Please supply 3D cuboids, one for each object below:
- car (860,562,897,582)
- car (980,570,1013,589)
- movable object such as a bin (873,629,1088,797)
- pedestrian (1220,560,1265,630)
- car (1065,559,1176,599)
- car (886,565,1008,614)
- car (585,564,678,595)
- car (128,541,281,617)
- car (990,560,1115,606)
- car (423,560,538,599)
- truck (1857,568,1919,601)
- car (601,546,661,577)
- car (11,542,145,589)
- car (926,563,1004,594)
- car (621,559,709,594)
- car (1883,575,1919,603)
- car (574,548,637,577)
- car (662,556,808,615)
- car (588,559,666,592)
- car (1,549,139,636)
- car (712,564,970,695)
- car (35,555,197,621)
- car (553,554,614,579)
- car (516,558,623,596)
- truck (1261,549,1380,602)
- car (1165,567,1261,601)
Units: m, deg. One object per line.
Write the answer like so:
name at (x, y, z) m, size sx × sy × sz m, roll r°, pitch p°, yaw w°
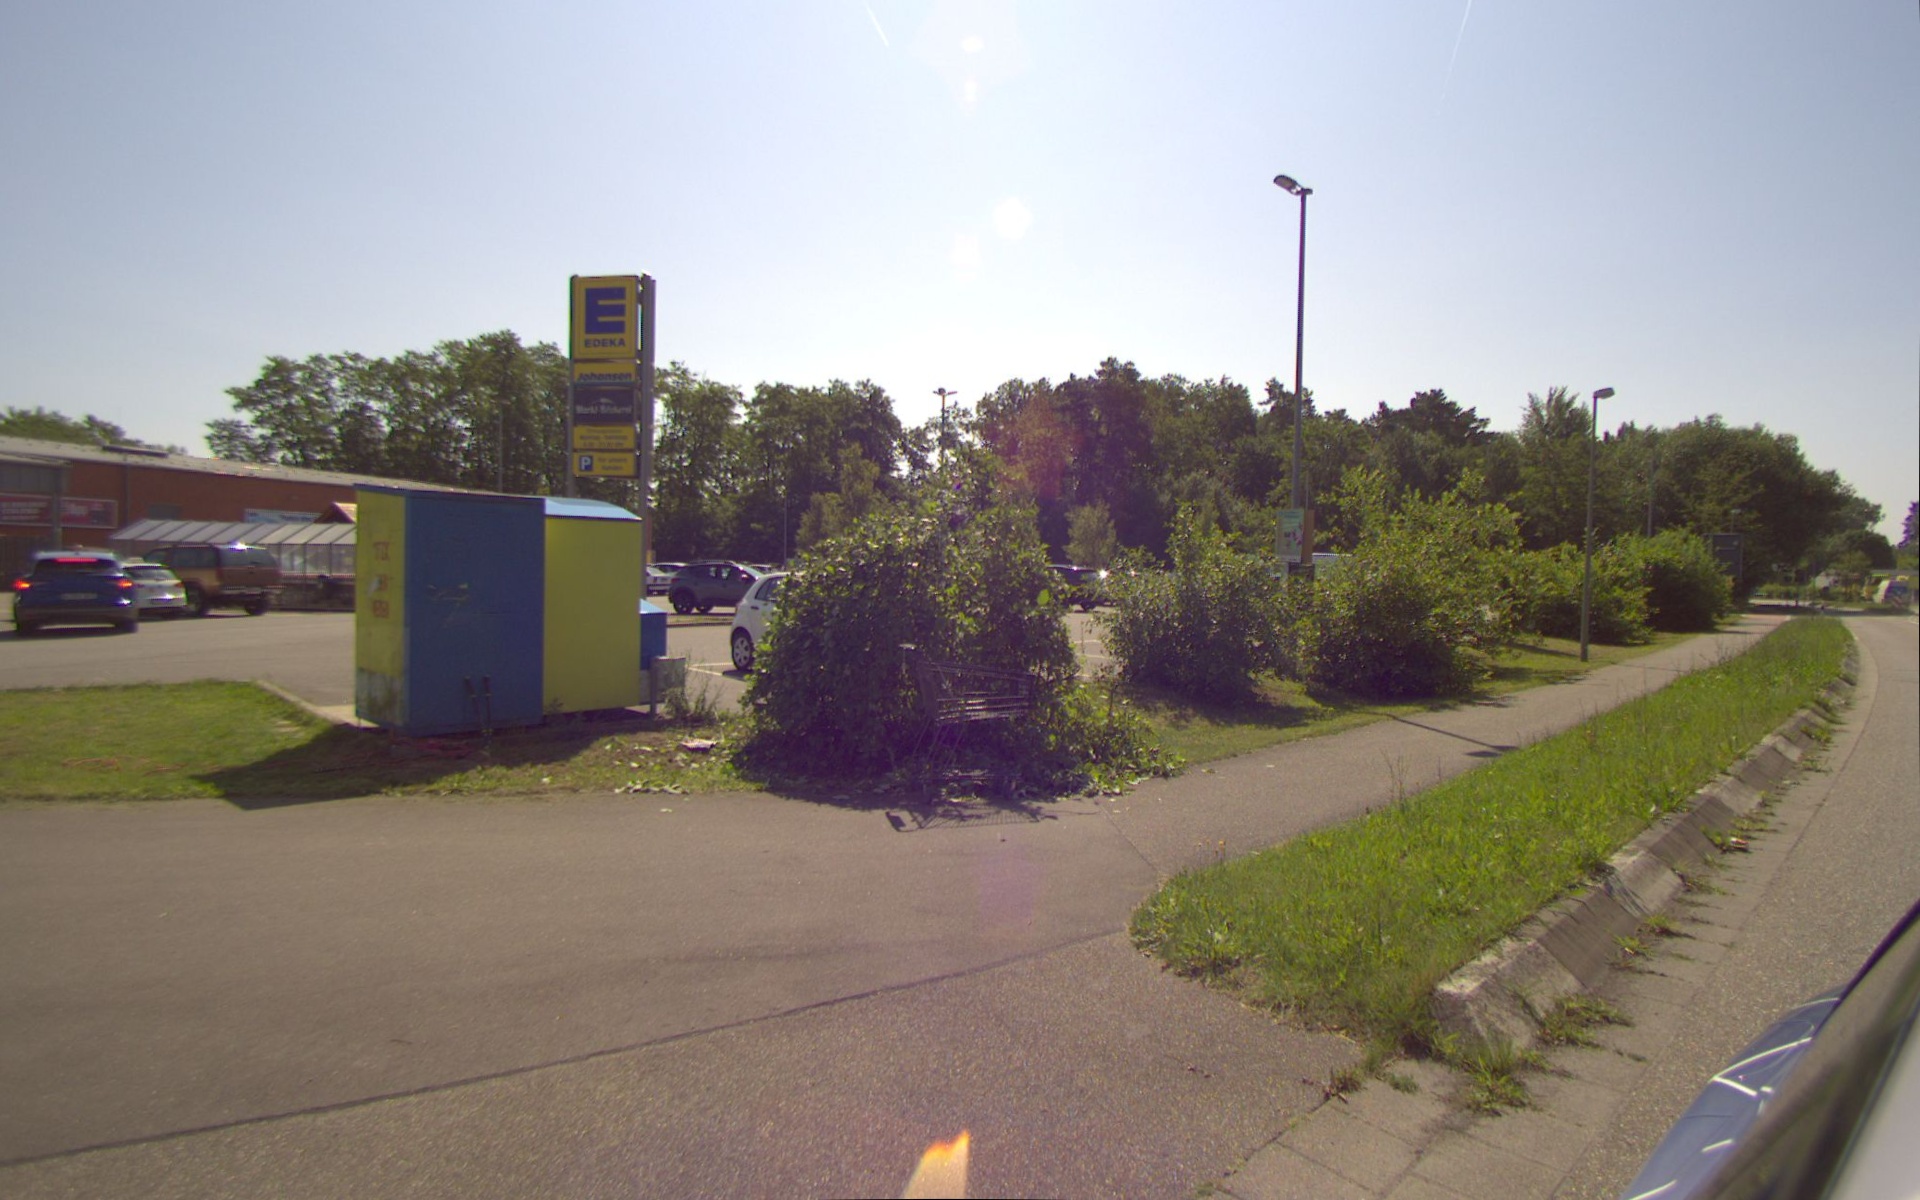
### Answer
car at (-6.664, -2.322, 83.531) m, size 1.769 × 1.615 × 4.244 m, roll 2°, pitch 2°, yaw 14°
car at (2.976, -1.668, 81.555) m, size 1.639 × 1.504 × 4.353 m, roll 2°, pitch 2°, yaw 15°
movable object such as a bin at (0.141, 0.818, 7.808) m, size 1.424 × 1.134 × 0.872 m, roll 1°, pitch 1°, yaw -21°
pedestrian at (7.609, -0.149, 27.225) m, size 0.818 × 1.820 × 0.853 m, roll 3°, pitch 2°, yaw 43°
car at (6.341, -0.849, 40.106) m, size 3.975 × 1.445 × 1.727 m, roll 3°, pitch 2°, yaw 35°
car at (-0.477, -0.378, 33.035) m, size 3.988 × 1.460 × 1.624 m, roll 3°, pitch 2°, yaw 44°
car at (-16.035, -0.992, 49.386) m, size 3.951 × 1.371 × 1.987 m, roll 2°, pitch 2°, yaw 21°
car at (-20.716, -0.592, 27.763) m, size 3.452 × 1.953 × 1.865 m, roll 2°, pitch 1°, yaw 22°
car at (3.341, -0.644, 36.888) m, size 4.147 × 1.593 × 1.972 m, roll 2°, pitch 1°, yaw 39°
car at (-18.781, -0.808, 39.671) m, size 3.942 × 1.415 × 1.708 m, roll 1°, pitch 1°, yaw 15°
truck at (106.685, -1.664, 112.372) m, size 10.293 × 3.435 × 3.830 m, roll 3°, pitch 2°, yaw 40°
car at (-25.394, -2.947, 78.156) m, size 3.971 × 2.275 × 1.988 m, roll 2°, pitch 1°, yaw 19°
car at (-34.654, -1.365, 39.786) m, size 3.937 × 1.705 × 1.994 m, roll 2°, pitch 1°, yaw 11°
car at (0.282, -1.221, 56.337) m, size 3.950 × 1.604 × 1.958 m, roll 2°, pitch 2°, yaw 20°
car at (-15.055, -1.216, 51.716) m, size 3.951 × 1.682 × 1.987 m, roll 2°, pitch 1°, yaw 21°
car at (87.611, -1.040, 93.825) m, size 1.902 × 2.430 × 4.858 m, roll 2°, pitch 2°, yaw 30°
car at (-25.974, -2.729, 74.182) m, size 3.948 × 2.039 × 1.988 m, roll 2°, pitch 1°, yaw 18°
car at (-6.681, -0.454, 30.238) m, size 3.932 × 1.608 × 1.658 m, roll 1°, pitch 1°, yaw 7°
car at (-19.234, -1.422, 58.526) m, size 3.944 × 1.779 × 1.797 m, roll 2°, pitch 2°, yaw 16°
car at (-18.128, -0.198, 20.538) m, size 4.413 × 1.591 × 1.690 m, roll 2°, pitch 1°, yaw 43°
car at (-1.820, 0.338, 14.896) m, size 3.591 × 1.581 × 1.787 m, roll 4°, pitch 3°, yaw 40°
car at (-21.051, -0.319, 25.263) m, size 3.452 × 1.516 × 1.704 m, roll 2°, pitch 1°, yaw 22°
car at (-26.588, -2.362, 71.525) m, size 3.722 × 1.660 × 1.773 m, roll 2°, pitch 2°, yaw 17°
car at (-16.945, -0.995, 43.990) m, size 3.940 × 1.504 × 1.961 m, roll 2°, pitch 1°, yaw 14°
truck at (19.316, -1.373, 54.453) m, size 5.595 × 2.637 × 2.171 m, roll 3°, pitch 2°, yaw 41°
car at (11.716, -0.758, 46.902) m, size 3.945 × 1.471 × 1.883 m, roll 3°, pitch 2°, yaw 32°
